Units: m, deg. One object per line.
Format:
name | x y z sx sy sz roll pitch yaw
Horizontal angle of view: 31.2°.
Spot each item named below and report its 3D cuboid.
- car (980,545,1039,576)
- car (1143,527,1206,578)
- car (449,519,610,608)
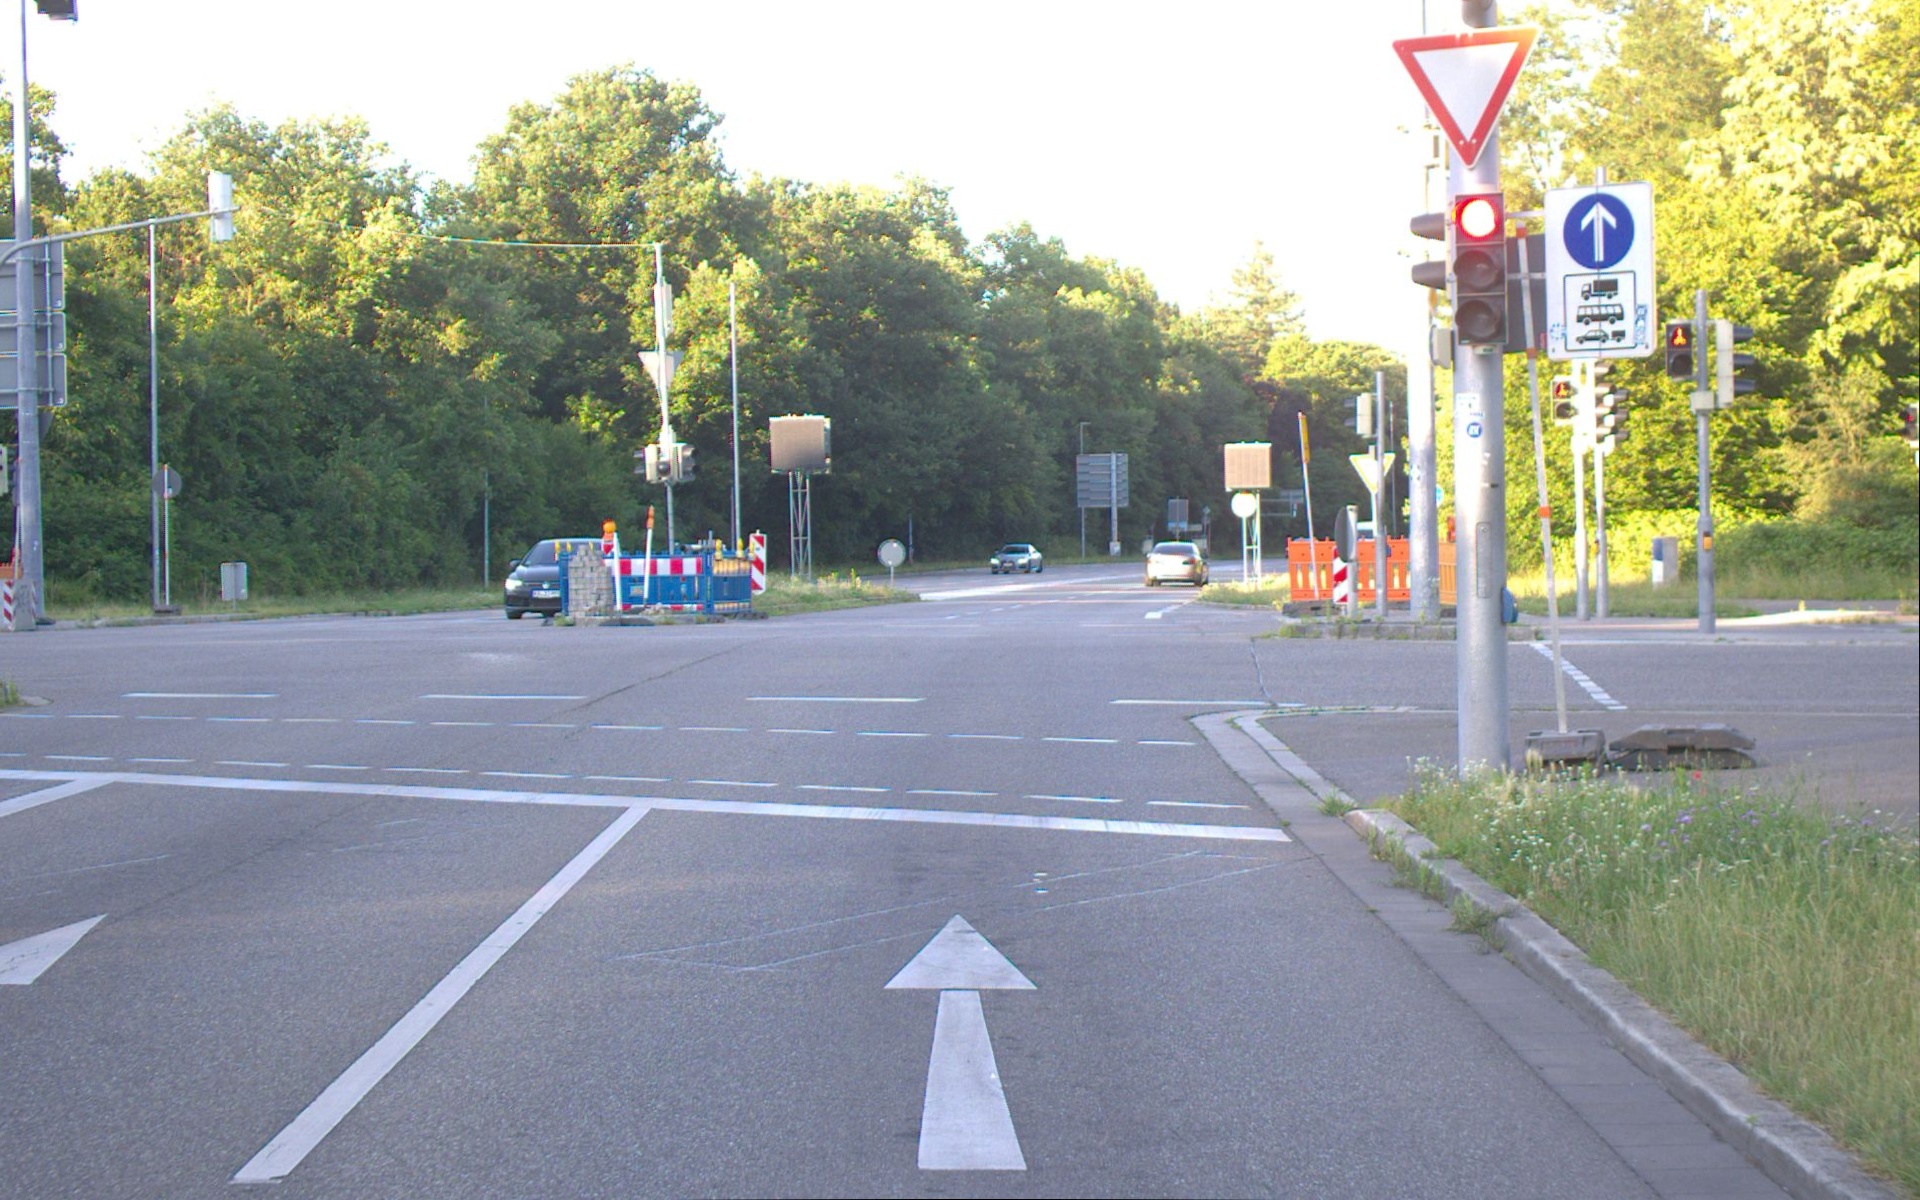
car | 2.383 -1.906 164.593 1.995 1.415 3.998 0 1 13
car | 7.105 -1.593 113.544 1.994 1.612 4.000 -1 1 4
car | -7.769 -0.699 62.489 1.994 1.524 4.678 -1 1 4
